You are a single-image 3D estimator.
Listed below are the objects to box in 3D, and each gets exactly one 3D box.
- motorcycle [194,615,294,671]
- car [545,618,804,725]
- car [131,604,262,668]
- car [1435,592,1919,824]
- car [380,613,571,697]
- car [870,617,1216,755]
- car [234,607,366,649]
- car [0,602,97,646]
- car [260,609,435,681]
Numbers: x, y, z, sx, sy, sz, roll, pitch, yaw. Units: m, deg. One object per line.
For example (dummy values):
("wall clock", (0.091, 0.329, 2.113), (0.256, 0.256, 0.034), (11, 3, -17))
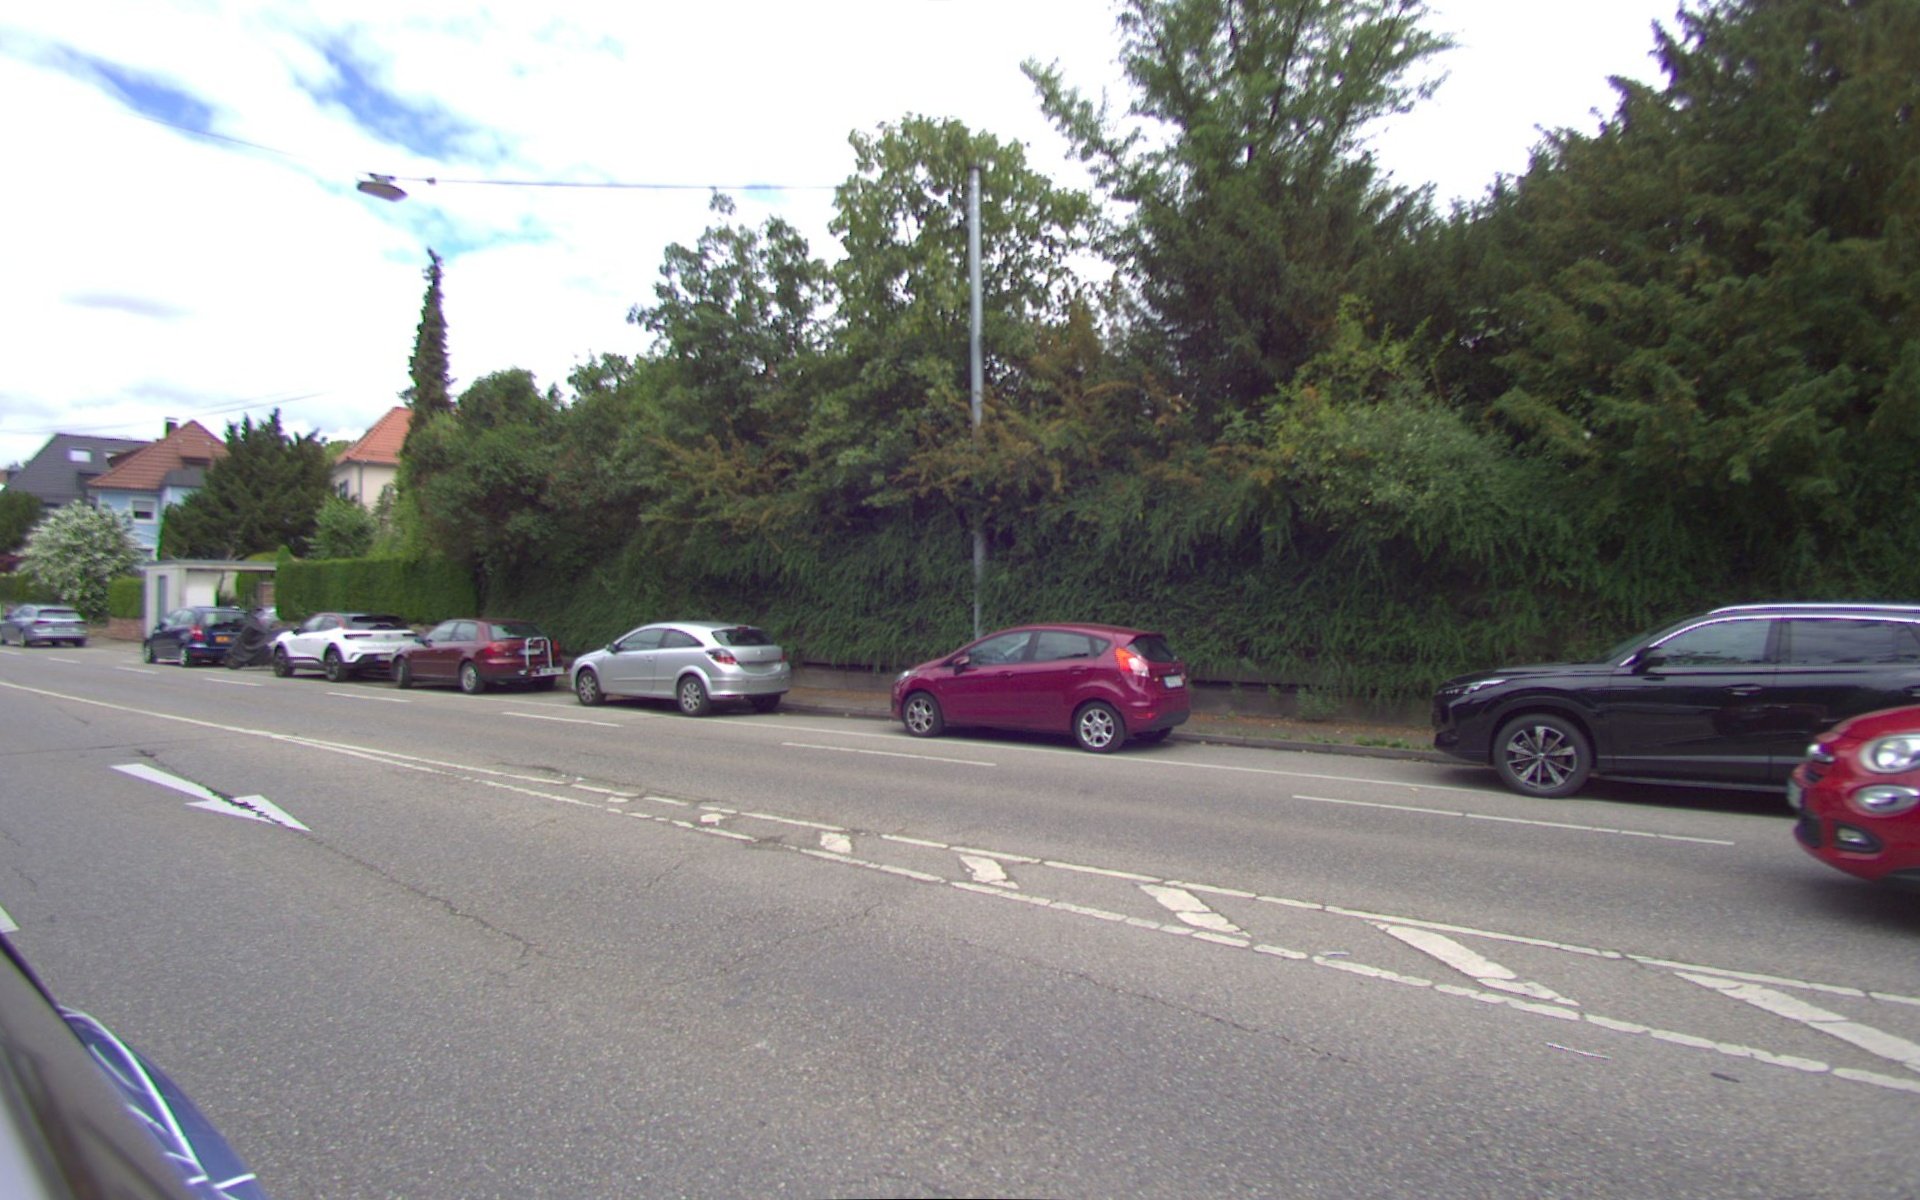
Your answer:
("motorcycle", (-18.105, 1.091, 25.600), (2.288, 1.366, 0.883), (-1, -3, 19))
("car", (-4.754, 1.073, 16.606), (4.420, 1.499, 1.655), (0, -2, 35))
("car", (-20.938, 0.952, 27.707), (3.961, 1.568, 1.664), (1, -2, 34))
("car", (6.608, 0.794, 8.597), (4.453, 1.655, 1.977), (0, -1, 33))
("car", (-9.638, 1.025, 20.070), (3.900, 1.489, 1.656), (0, -2, 34))
("car", (0.980, 0.951, 12.665), (3.989, 1.449, 1.765), (0, -1, 34))
("car", (-23.066, 0.937, 35.436), (1.850, 1.401, 3.549), (0, -1, 43))
("car", (-32.546, 0.828, 35.858), (4.401, 1.466, 1.794), (0, -3, 33))
("car", (-14.061, 0.984, 23.181), (4.016, 1.506, 1.874), (0, -2, 34))
